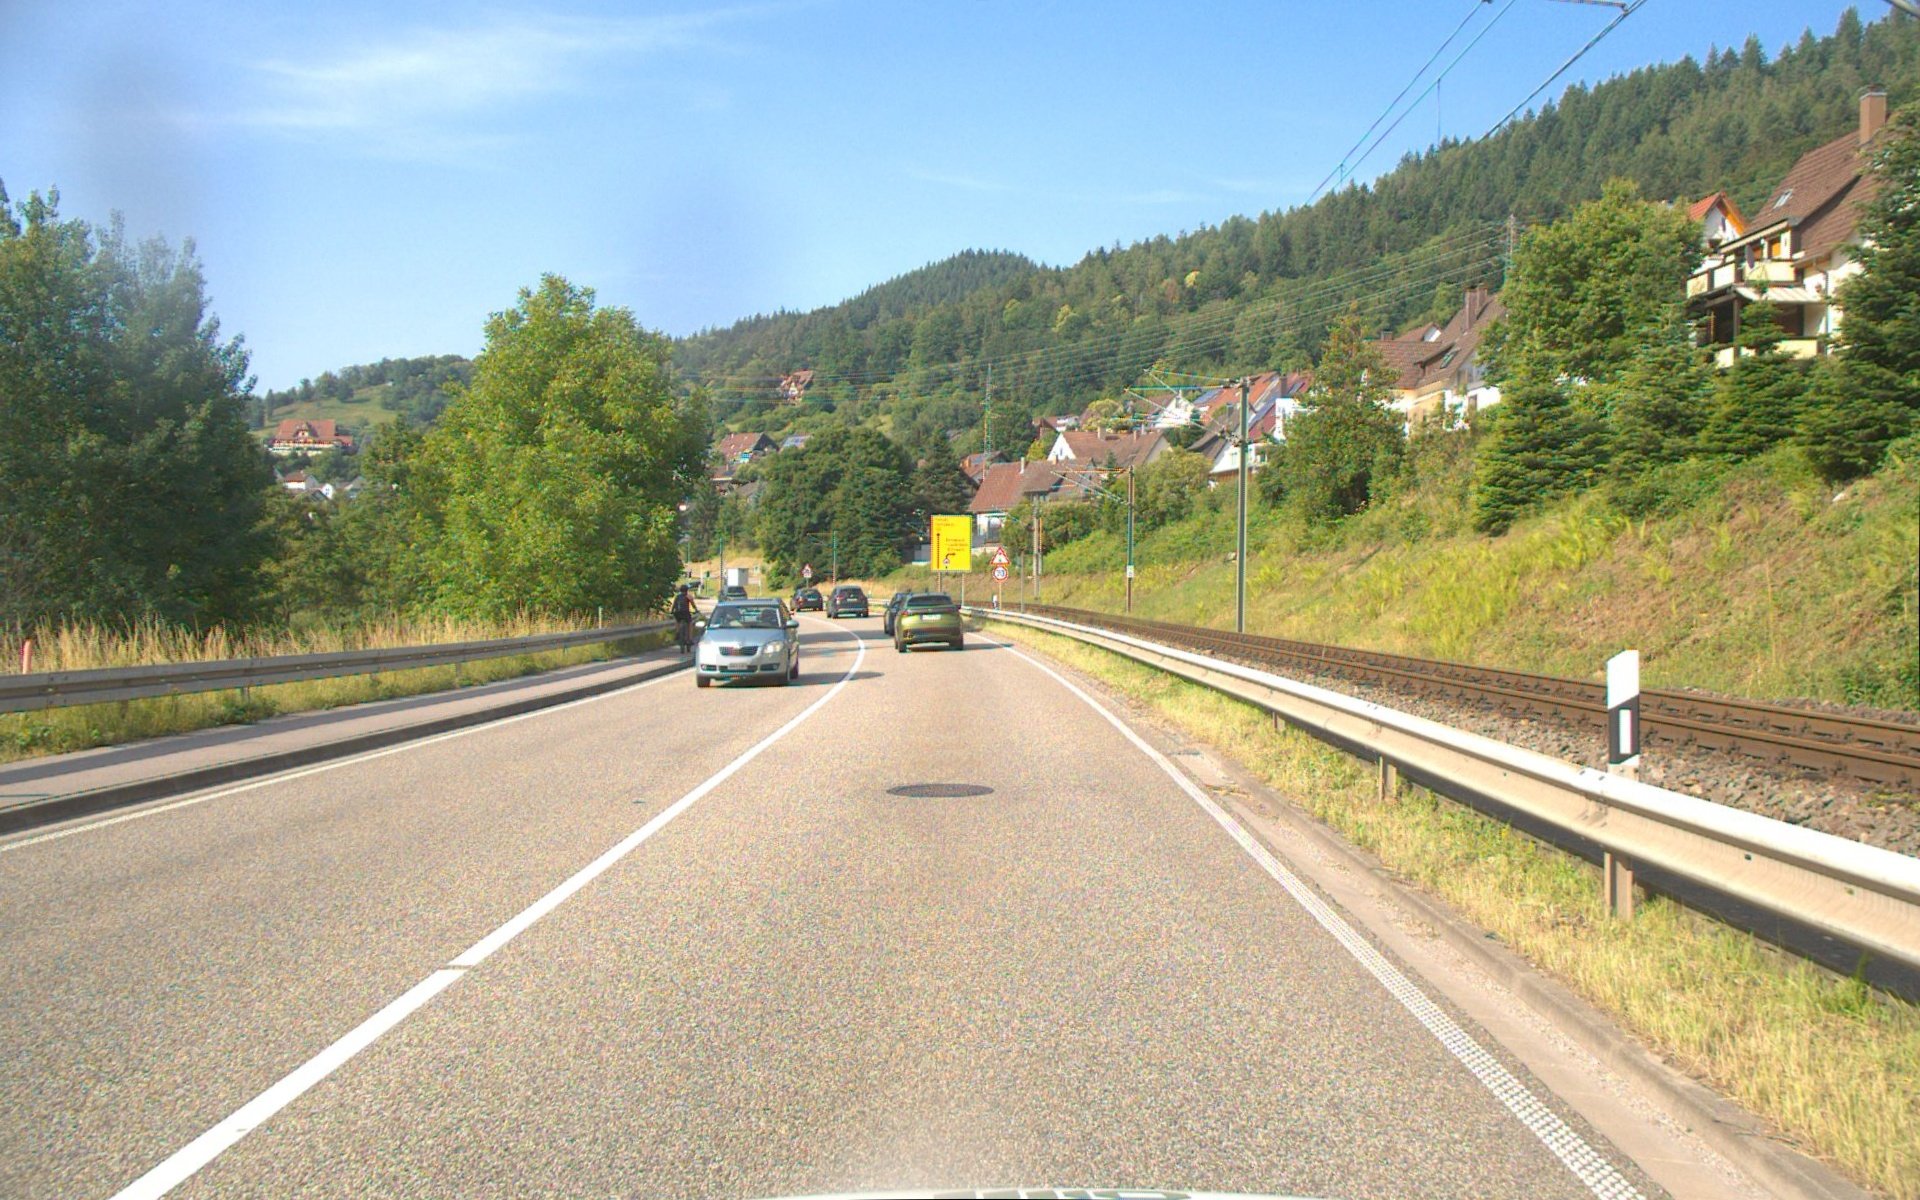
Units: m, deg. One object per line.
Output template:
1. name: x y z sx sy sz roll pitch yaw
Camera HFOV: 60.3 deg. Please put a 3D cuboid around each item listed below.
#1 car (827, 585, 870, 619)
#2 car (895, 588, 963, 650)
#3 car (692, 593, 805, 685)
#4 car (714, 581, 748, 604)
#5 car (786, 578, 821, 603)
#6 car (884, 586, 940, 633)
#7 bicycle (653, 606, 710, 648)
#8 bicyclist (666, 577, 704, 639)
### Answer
1. car: -5.903 0.079 87.277 1.846 1.716 3.990 1 0 -10
2. car: -0.814 0.469 43.875 1.680 1.480 4.000 -2 1 -1
3. car: -3.754 0.651 29.933 1.545 1.505 3.999 -2 0 -1
4. car: -19.639 -0.593 141.718 2.033 1.843 3.977 -2 0 -19
5. car: -10.225 -0.617 108.004 1.817 1.553 3.650 -1 1 -13
6. car: -1.727 0.314 58.325 1.635 1.586 3.994 0 0 -7
7. bicycle: -7.457 0.703 44.401 0.545 1.064 2.231 2 1 17
8. bicyclist: -7.392 0.214 44.505 0.545 1.614 1.036 2 1 17
